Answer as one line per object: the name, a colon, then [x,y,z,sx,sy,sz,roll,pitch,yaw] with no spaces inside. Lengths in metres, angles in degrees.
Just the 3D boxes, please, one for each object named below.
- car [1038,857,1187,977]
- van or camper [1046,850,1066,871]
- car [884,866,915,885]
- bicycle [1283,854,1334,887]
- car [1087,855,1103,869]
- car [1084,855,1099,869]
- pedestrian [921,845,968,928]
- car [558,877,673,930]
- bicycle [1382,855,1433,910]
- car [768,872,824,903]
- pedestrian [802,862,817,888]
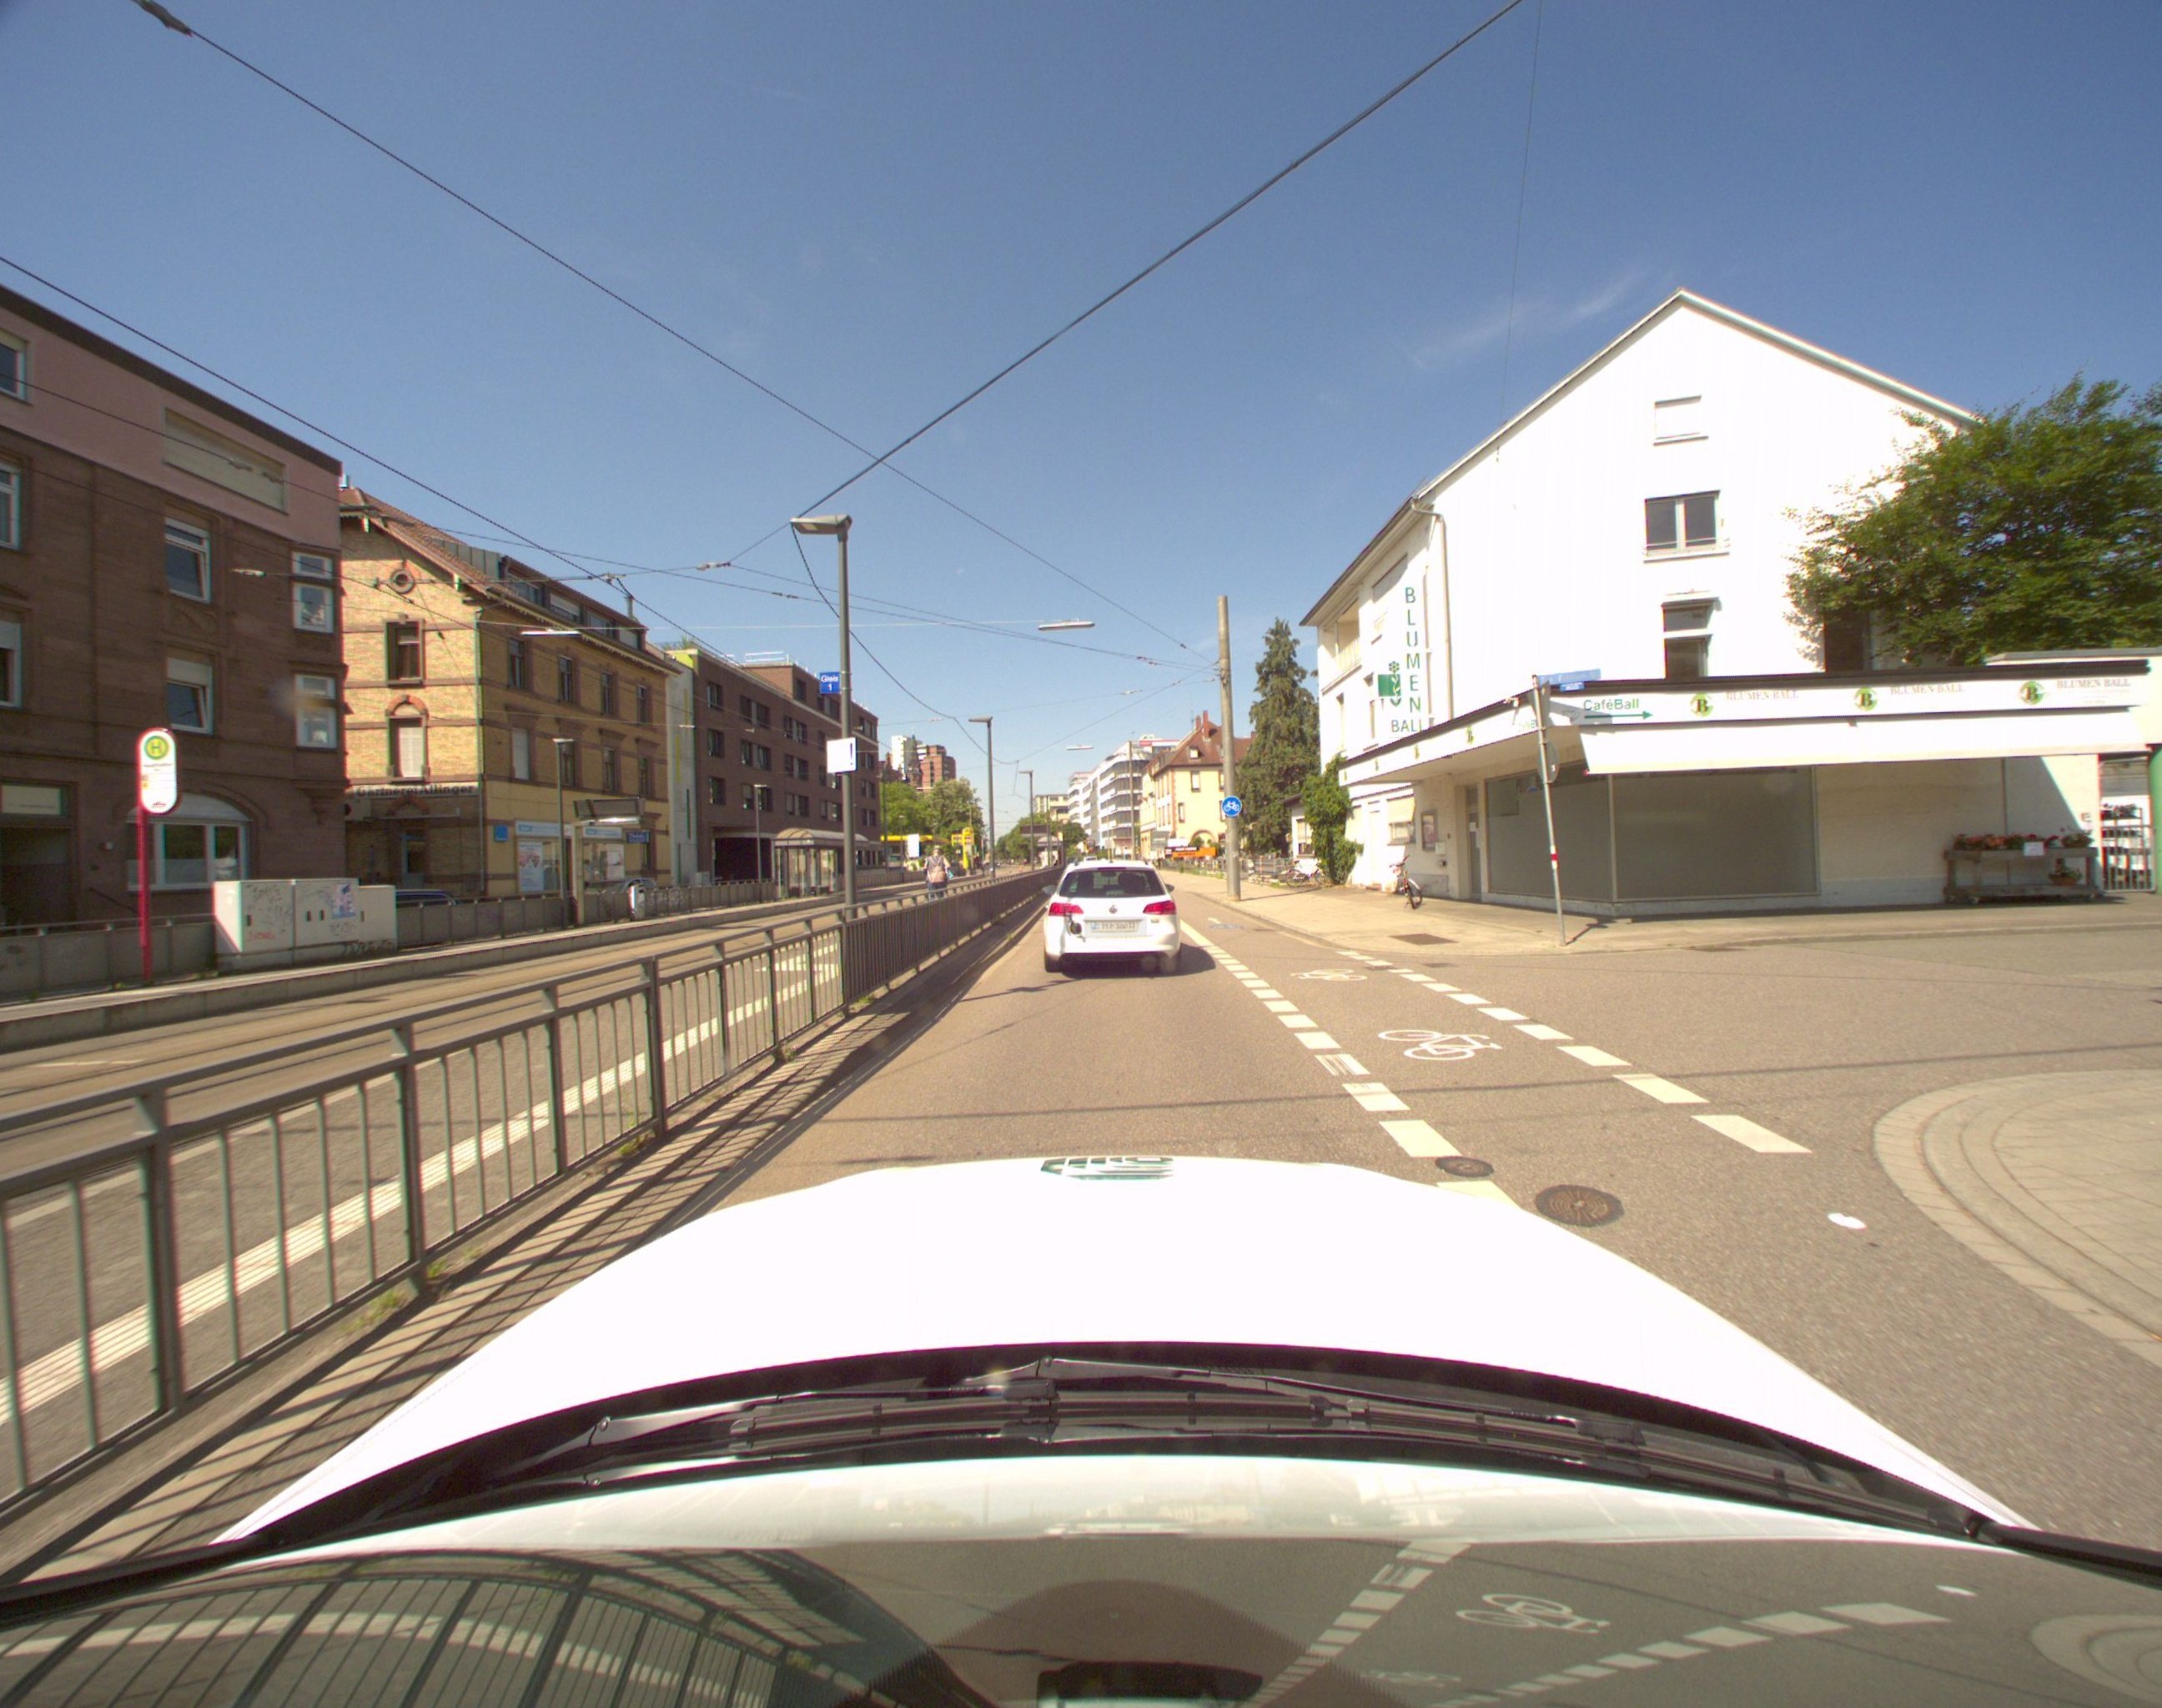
car: [0.420,0.754,11.538,1.746,1.418,3.854,0,0,1]
van or camper: [-4.178,1.084,134.053,2.937,3.180,6.605,-2,0,-3]
car: [-14.600,1.715,65.708,1.568,1.459,3.737,-2,0,0]
bicycle: [8.336,0.593,29.893,1.705,1.130,0.526,-2,-1,2]
car: [2.118,1.201,120.625,1.989,2.013,3.995,-2,0,-3]
car: [1.554,1.273,126.050,1.989,2.013,3.995,-2,0,-3]
pedestrian: [-3.082,0.721,18.444,0.823,1.809,0.833,-2,-1,1]
car: [-15.183,1.572,26.781,1.568,1.459,3.737,-2,0,0]
bicycle: [7.393,0.612,18.530,0.720,1.139,2.203,-2,0,13]
car: [-15.384,1.789,44.170,1.568,1.459,3.934,-2,0,0]
pedestrian: [-19.831,1.533,59.530,0.722,1.791,0.964,-3,-1,1]
